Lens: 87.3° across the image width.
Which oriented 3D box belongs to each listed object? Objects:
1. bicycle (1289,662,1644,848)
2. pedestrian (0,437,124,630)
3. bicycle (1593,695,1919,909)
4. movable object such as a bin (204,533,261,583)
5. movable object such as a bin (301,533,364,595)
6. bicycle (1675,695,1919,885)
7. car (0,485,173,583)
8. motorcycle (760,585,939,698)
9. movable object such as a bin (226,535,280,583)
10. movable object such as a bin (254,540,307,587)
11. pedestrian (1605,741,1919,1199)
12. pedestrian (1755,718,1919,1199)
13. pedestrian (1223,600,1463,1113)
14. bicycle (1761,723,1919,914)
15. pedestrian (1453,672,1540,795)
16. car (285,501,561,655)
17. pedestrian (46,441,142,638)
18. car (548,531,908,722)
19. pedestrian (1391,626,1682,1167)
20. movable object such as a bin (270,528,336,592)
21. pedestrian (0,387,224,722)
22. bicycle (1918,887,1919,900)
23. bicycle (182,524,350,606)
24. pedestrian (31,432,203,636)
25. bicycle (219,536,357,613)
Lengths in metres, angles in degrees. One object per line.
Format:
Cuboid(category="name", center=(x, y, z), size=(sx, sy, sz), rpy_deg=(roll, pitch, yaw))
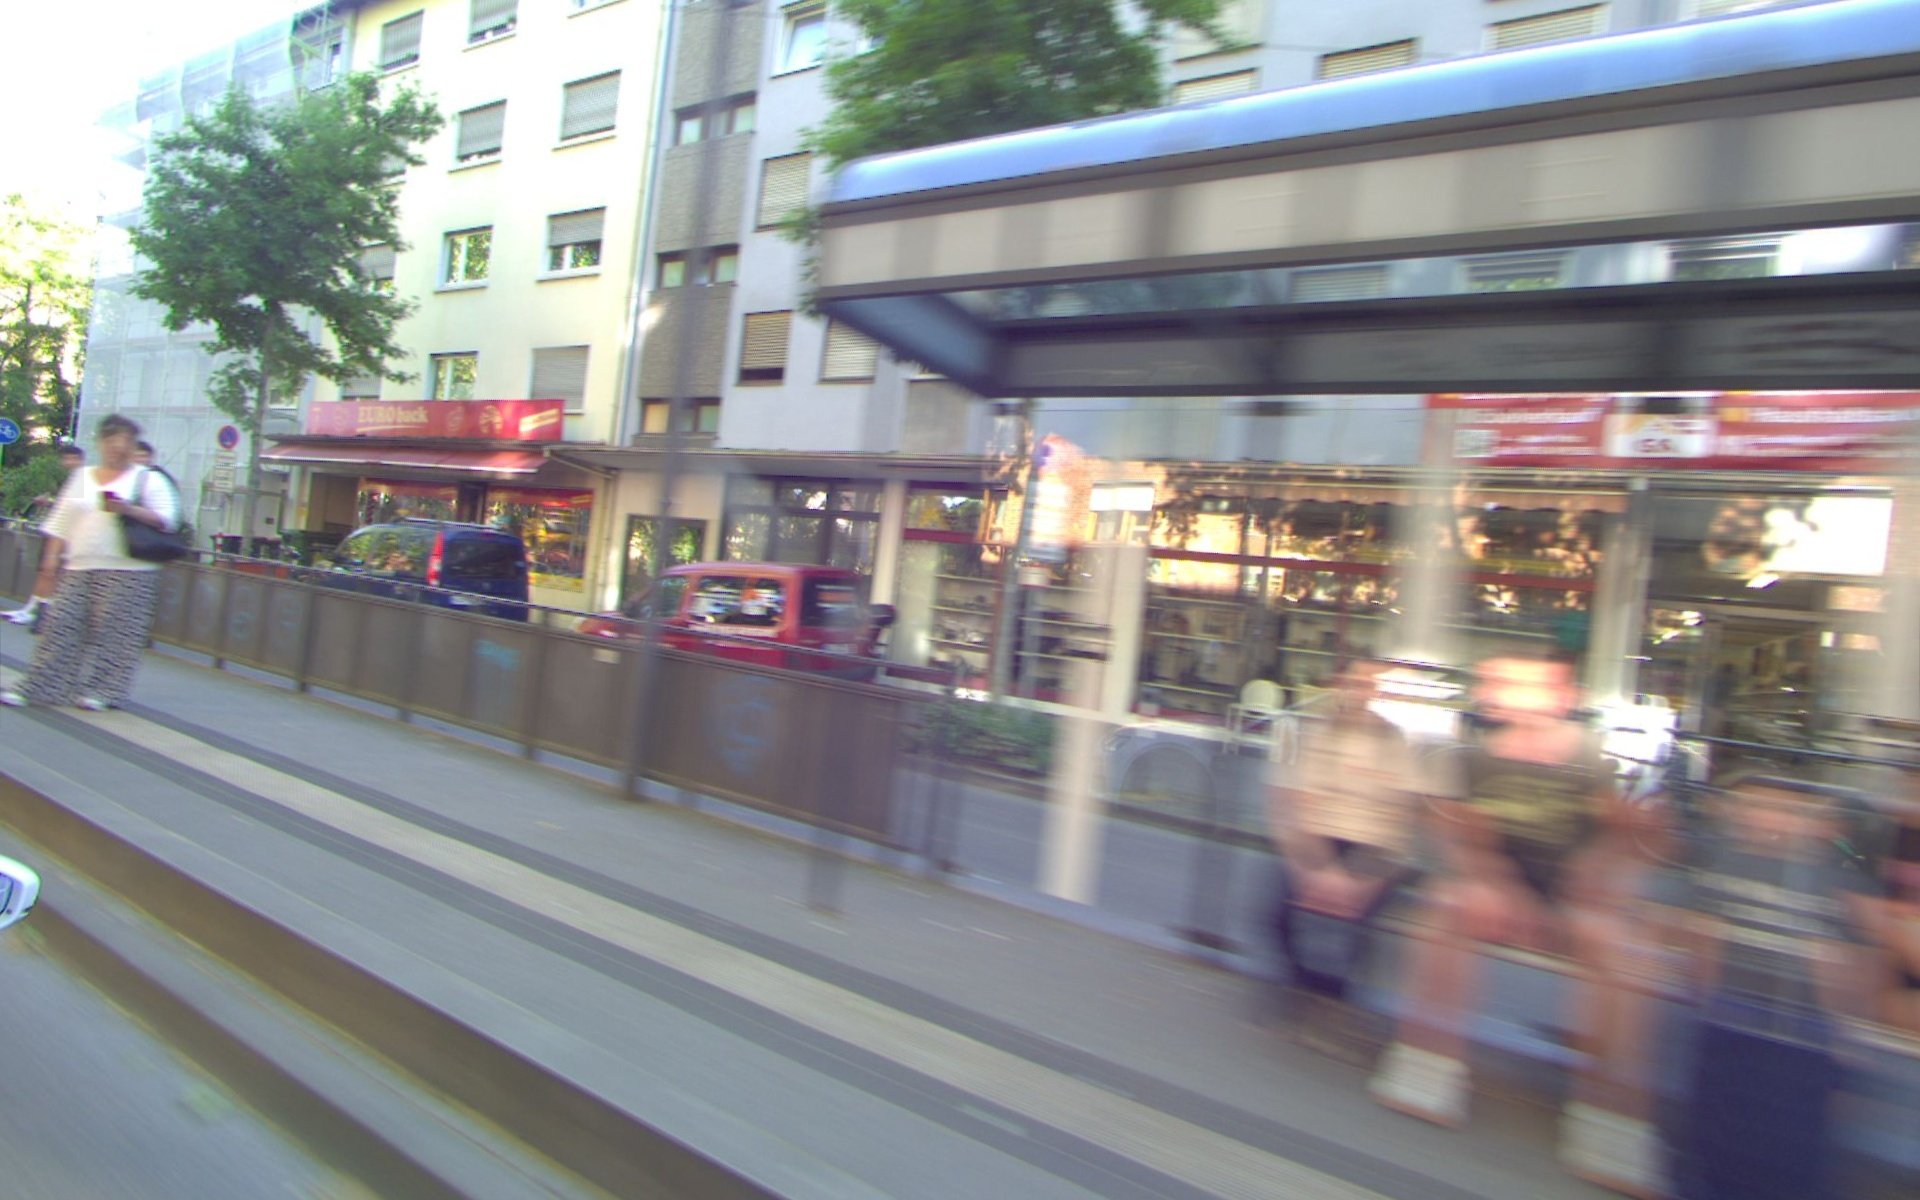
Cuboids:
Cuboid(category="bicycle", center=(4.595, 1.355, 9.357), size=(2.734, 1.196, 0.771), rpy_deg=(6, 3, 27))
Cuboid(category="pedestrian", center=(-8.947, -0.643, 9.948), size=(0.570, 1.775, 0.690), rpy_deg=(7, -1, 25))
Cuboid(category="bicycle", center=(6.790, 1.613, 8.038), size=(2.734, 1.197, 0.771), rpy_deg=(8, 5, 27))
Cuboid(category="movable object such as a bin", center=(-18.180, -1.047, 25.141), size=(0.685, 1.125, 0.882), rpy_deg=(6, 1, 29))
Cuboid(category="movable object such as a bin", center=(-15.170, -0.856, 24.323), size=(0.811, 1.367, 0.924), rpy_deg=(7, 1, 29))
Cuboid(category="bicycle", center=(7.605, 1.604, 8.140), size=(2.730, 1.197, 0.772), rpy_deg=(7, 5, 17))
Cuboid(category="car", center=(-19.029, -1.461, 21.753), size=(4.369, 1.642, 1.763), rpy_deg=(7, 1, 33))
Cuboid(category="motorcycle", center=(-1.727, 0.587, 15.533), size=(2.605, 1.336, 0.951), rpy_deg=(8, 5, 30))
Cuboid(category="movable object such as a bin", center=(-18.331, -1.052, 26.090), size=(0.685, 1.125, 0.882), rpy_deg=(6, 1, 29))
Cuboid(category="movable object such as a bin", center=(-17.980, -0.959, 26.641), size=(0.685, 1.125, 0.882), rpy_deg=(6, 1, 29))
Cuboid(category="pedestrian", center=(2.066, 0.948, 2.647), size=(0.418, 1.068, 0.522), rpy_deg=(7, -1, 21))
Cuboid(category="pedestrian", center=(2.580, 0.957, 2.522), size=(0.637, 1.219, 0.681), rpy_deg=(7, -1, 21))
Cuboid(category="pedestrian", center=(1.185, 0.723, 3.151), size=(0.484, 1.341, 0.722), rpy_deg=(7, -1, 21))
Cuboid(category="bicycle", center=(7.804, 1.756, 7.433), size=(2.730, 1.197, 0.772), rpy_deg=(7, 5, 15))
Cuboid(category="pedestrian", center=(5.918, 1.455, 11.125), size=(0.637, 1.219, 0.681), rpy_deg=(7, -1, 21))
Cuboid(category="car", center=(-8.533, -0.368, 15.895), size=(4.126, 1.919, 1.995), rpy_deg=(7, 0, 33))
Cuboid(category="pedestrian", center=(-8.354, -0.574, 9.699), size=(0.491, 1.790, 0.695), rpy_deg=(8, -1, -44))
Cuboid(category="car", center=(-2.906, 0.291, 12.361), size=(4.103, 1.775, 1.692), rpy_deg=(6, -2, 30))
Cuboid(category="pedestrian", center=(1.628, 0.780, 2.929), size=(0.517, 1.320, 0.586), rpy_deg=(7, -2, 21))
Cuboid(category="movable object such as a bin", center=(-16.024, -0.978, 24.559), size=(0.811, 1.414, 1.000), rpy_deg=(7, 1, 29))
Cuboid(category="pedestrian", center=(-5.002, -0.239, 5.800), size=(0.821, 1.732, 0.640), rpy_deg=(7, -1, -3))
Cuboid(category="bicycle", center=(8.462, 1.874, 6.724), size=(2.734, 1.197, 0.771), rpy_deg=(8, 5, 27))
Cuboid(category="bicycle", center=(-12.509, -0.599, 18.212), size=(1.012, 1.225, 2.206), rpy_deg=(6, 0, 31))
Cuboid(category="pedestrian", center=(-7.743, -0.585, 9.267), size=(0.680, 1.720, 0.847), rpy_deg=(7, -1, 25))
Cuboid(category="bicycle", center=(-12.959, -0.482, 19.429), size=(2.169, 1.225, 0.685), rpy_deg=(6, 1, 3))
